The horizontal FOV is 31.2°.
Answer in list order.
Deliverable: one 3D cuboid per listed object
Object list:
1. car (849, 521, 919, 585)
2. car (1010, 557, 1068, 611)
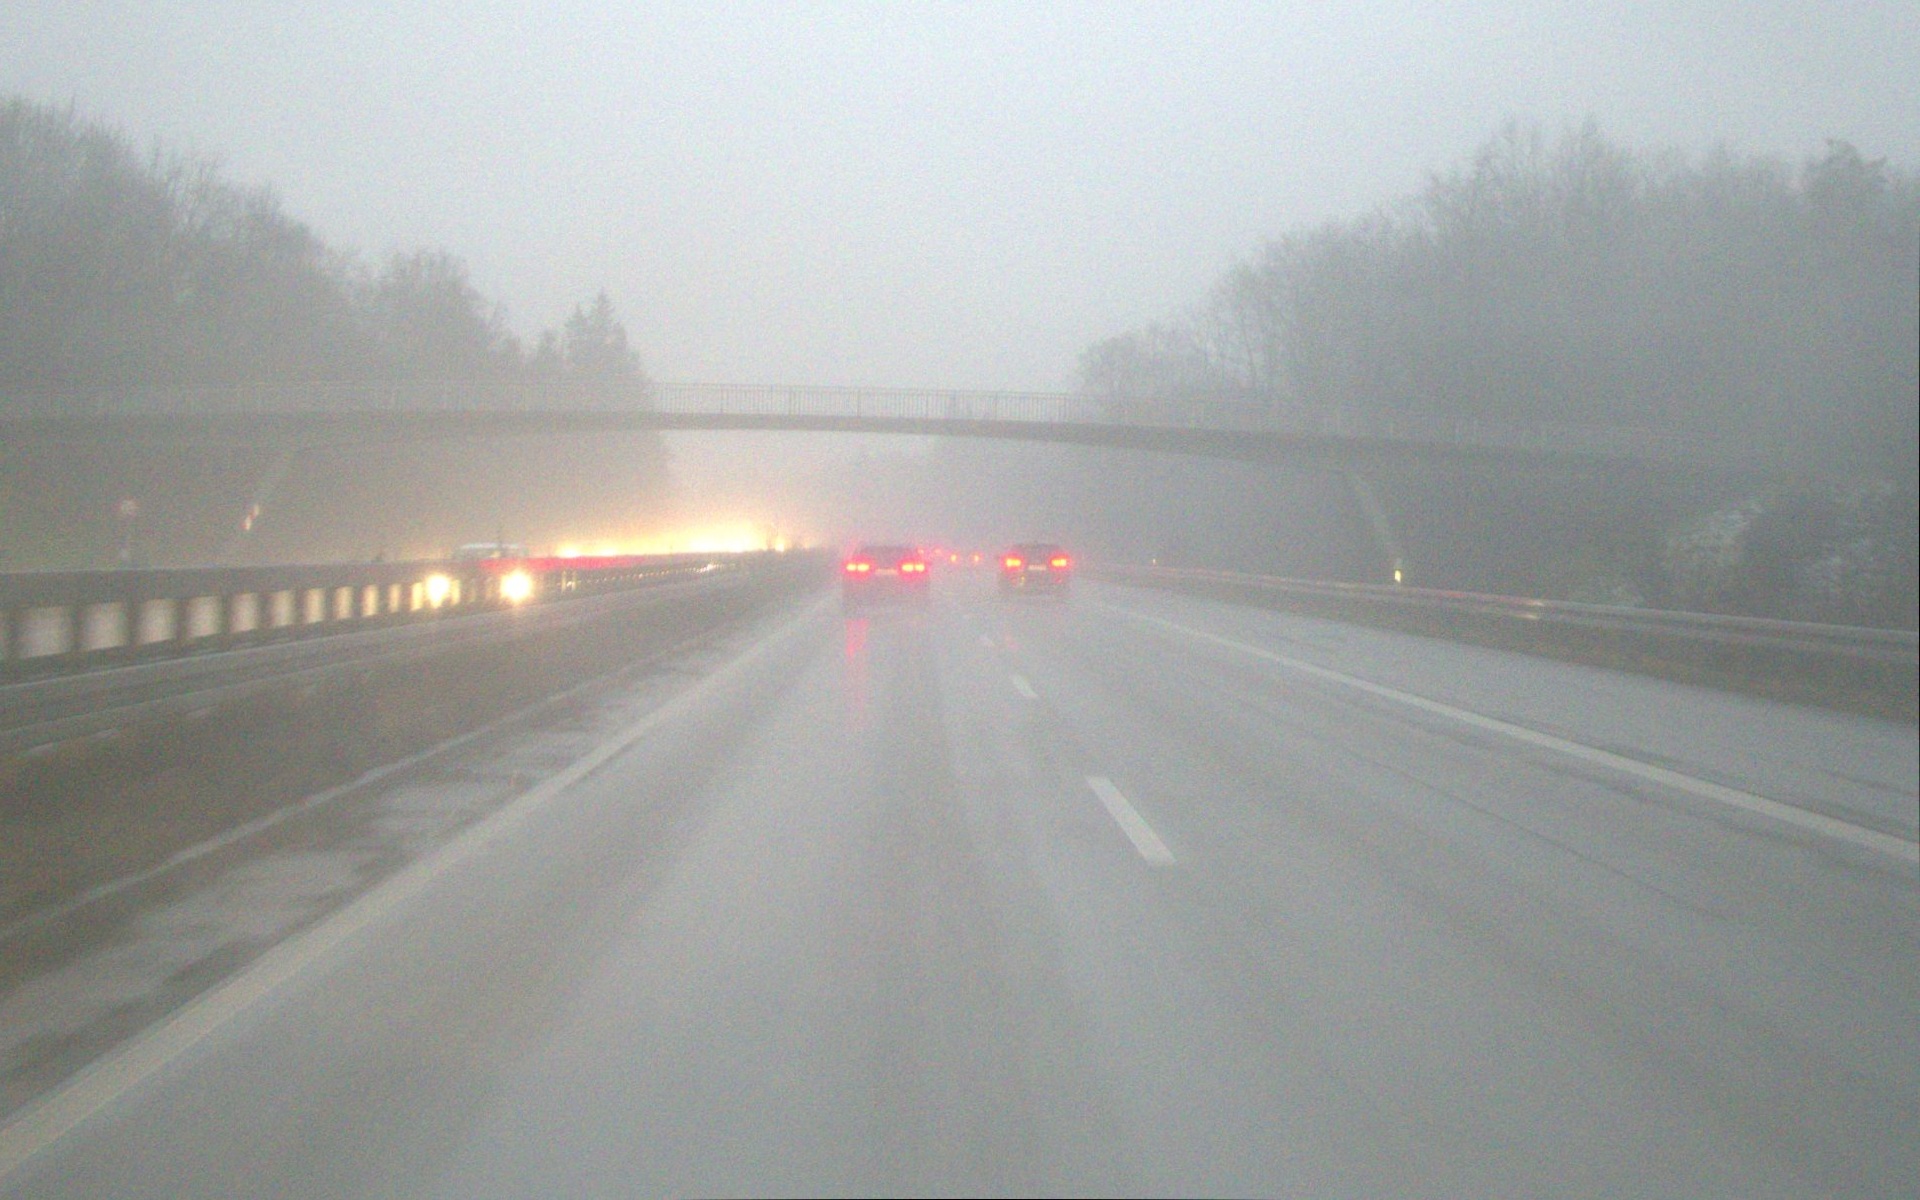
[{"bbox_3d":[-1.653,-1.031,75.592,1.454,1.339,3.490,2,1,-1],"label":"car"},{"bbox_3d":[2.148,-0.457,93.870,1.454,1.424,3.490,1,1,-1],"label":"car"}]
